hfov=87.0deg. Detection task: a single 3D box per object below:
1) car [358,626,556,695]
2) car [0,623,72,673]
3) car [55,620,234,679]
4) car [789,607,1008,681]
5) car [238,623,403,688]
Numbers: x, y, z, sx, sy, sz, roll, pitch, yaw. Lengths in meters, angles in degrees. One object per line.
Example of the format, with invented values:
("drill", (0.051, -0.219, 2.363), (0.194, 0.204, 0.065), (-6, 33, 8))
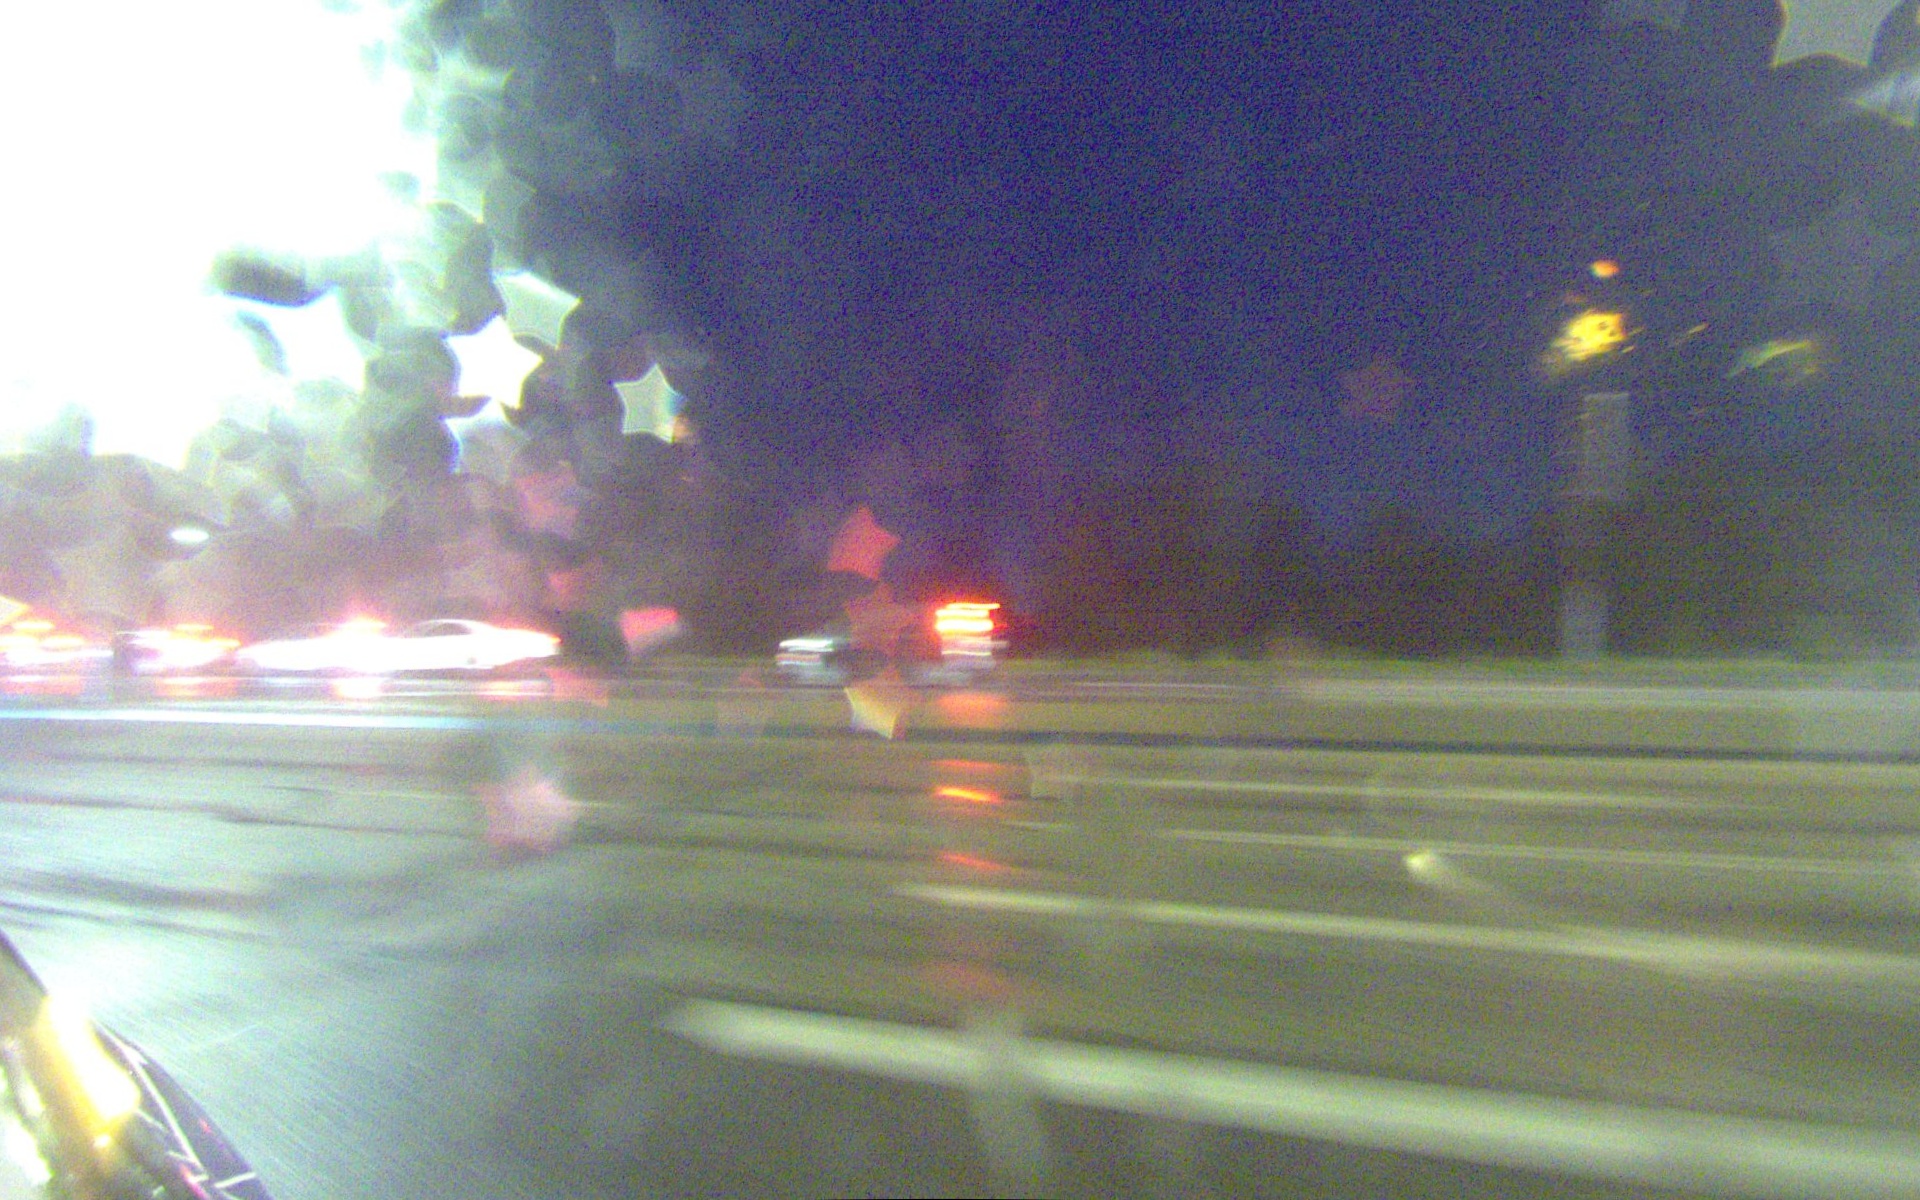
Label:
("car", (-12.359, 1.468, 24.899), (4.399, 1.542, 1.877), (-1, 0, 21))
("car", (-29.823, 1.440, 31.321), (4.007, 1.387, 1.755), (0, 0, 18))
("car", (-23.466, 1.410, 29.149), (4.496, 1.550, 1.847), (0, -3, 18))
("car", (-1.080, 0.777, 18.152), (3.584, 1.212, 1.639), (-1, 0, 18))
("car", (-17.172, 1.469, 27.169), (4.113, 1.614, 1.489), (-1, 0, 19))
